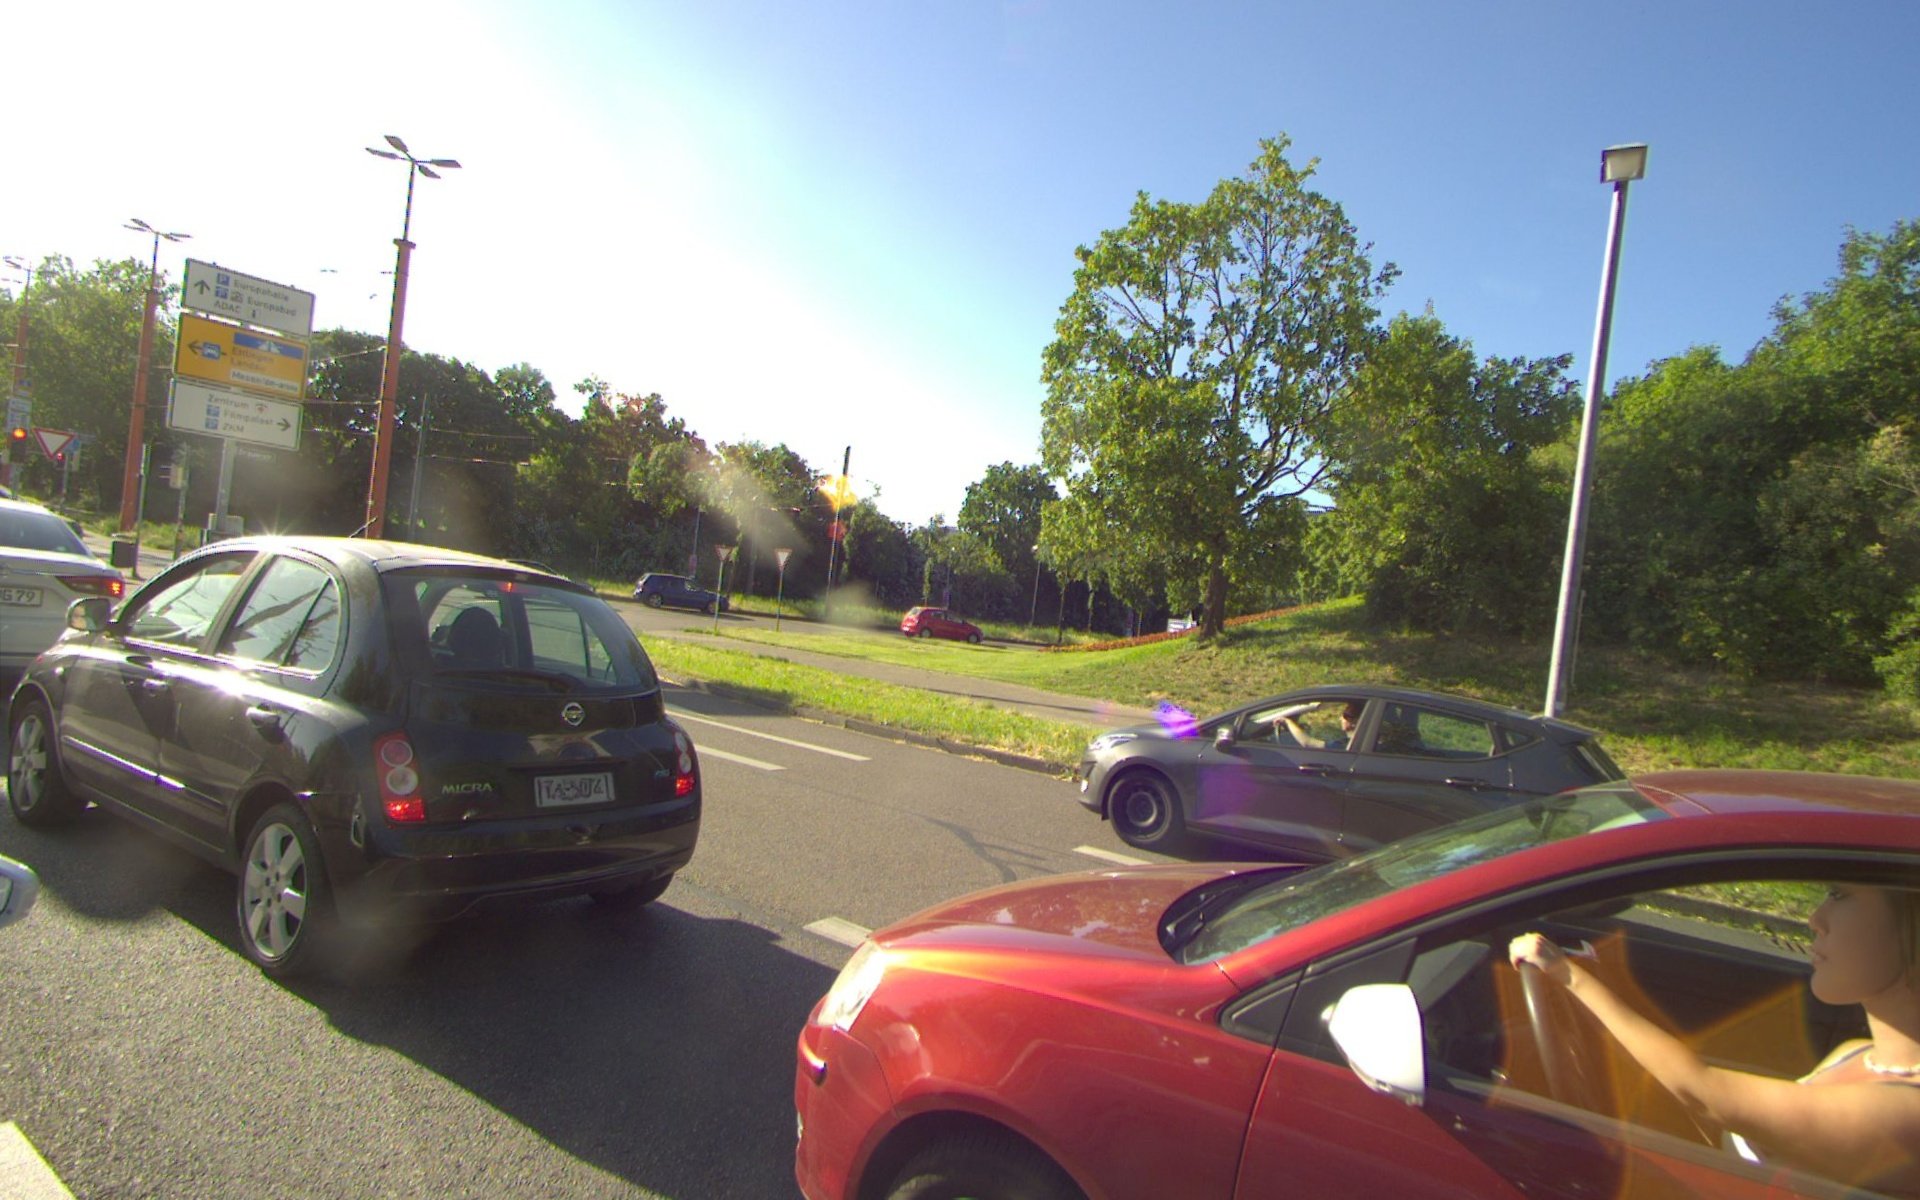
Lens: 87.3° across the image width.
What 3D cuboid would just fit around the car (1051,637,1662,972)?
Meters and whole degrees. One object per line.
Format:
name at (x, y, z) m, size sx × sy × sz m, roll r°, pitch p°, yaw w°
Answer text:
car at (2.846, 1.286, 7.569) m, size 3.831 × 1.487 × 1.747 m, roll 7°, pitch -1°, yaw 35°

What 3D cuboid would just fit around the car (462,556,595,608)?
car at (-15.928, -0.669, 37.147) m, size 4.271 × 1.343 × 1.748 m, roll 8°, pitch -1°, yaw -29°

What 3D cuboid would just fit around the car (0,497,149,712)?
car at (-8.344, -0.164, 7.975) m, size 4.077 × 1.472 × 1.717 m, roll 7°, pitch -1°, yaw 33°

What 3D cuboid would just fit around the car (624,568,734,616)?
car at (-12.093, -0.322, 43.333) m, size 4.186 × 1.497 × 1.741 m, roll 8°, pitch -1°, yaw -29°

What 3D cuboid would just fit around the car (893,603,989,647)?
car at (-0.843, 1.149, 46.293) m, size 3.958 × 1.512 × 1.757 m, roll 8°, pitch -1°, yaw -31°

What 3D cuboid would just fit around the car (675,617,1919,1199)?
car at (1.373, 0.990, 1.891) m, size 3.634 × 1.434 × 1.624 m, roll 7°, pitch -1°, yaw 34°

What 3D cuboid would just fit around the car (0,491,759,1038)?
car at (-2.819, 0.464, 4.622) m, size 3.457 × 1.524 × 1.558 m, roll 7°, pitch 0°, yaw 32°

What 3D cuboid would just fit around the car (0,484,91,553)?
car at (-28.713, -2.570, 29.629) m, size 4.311 × 1.753 × 1.829 m, roll 8°, pitch -1°, yaw -30°
